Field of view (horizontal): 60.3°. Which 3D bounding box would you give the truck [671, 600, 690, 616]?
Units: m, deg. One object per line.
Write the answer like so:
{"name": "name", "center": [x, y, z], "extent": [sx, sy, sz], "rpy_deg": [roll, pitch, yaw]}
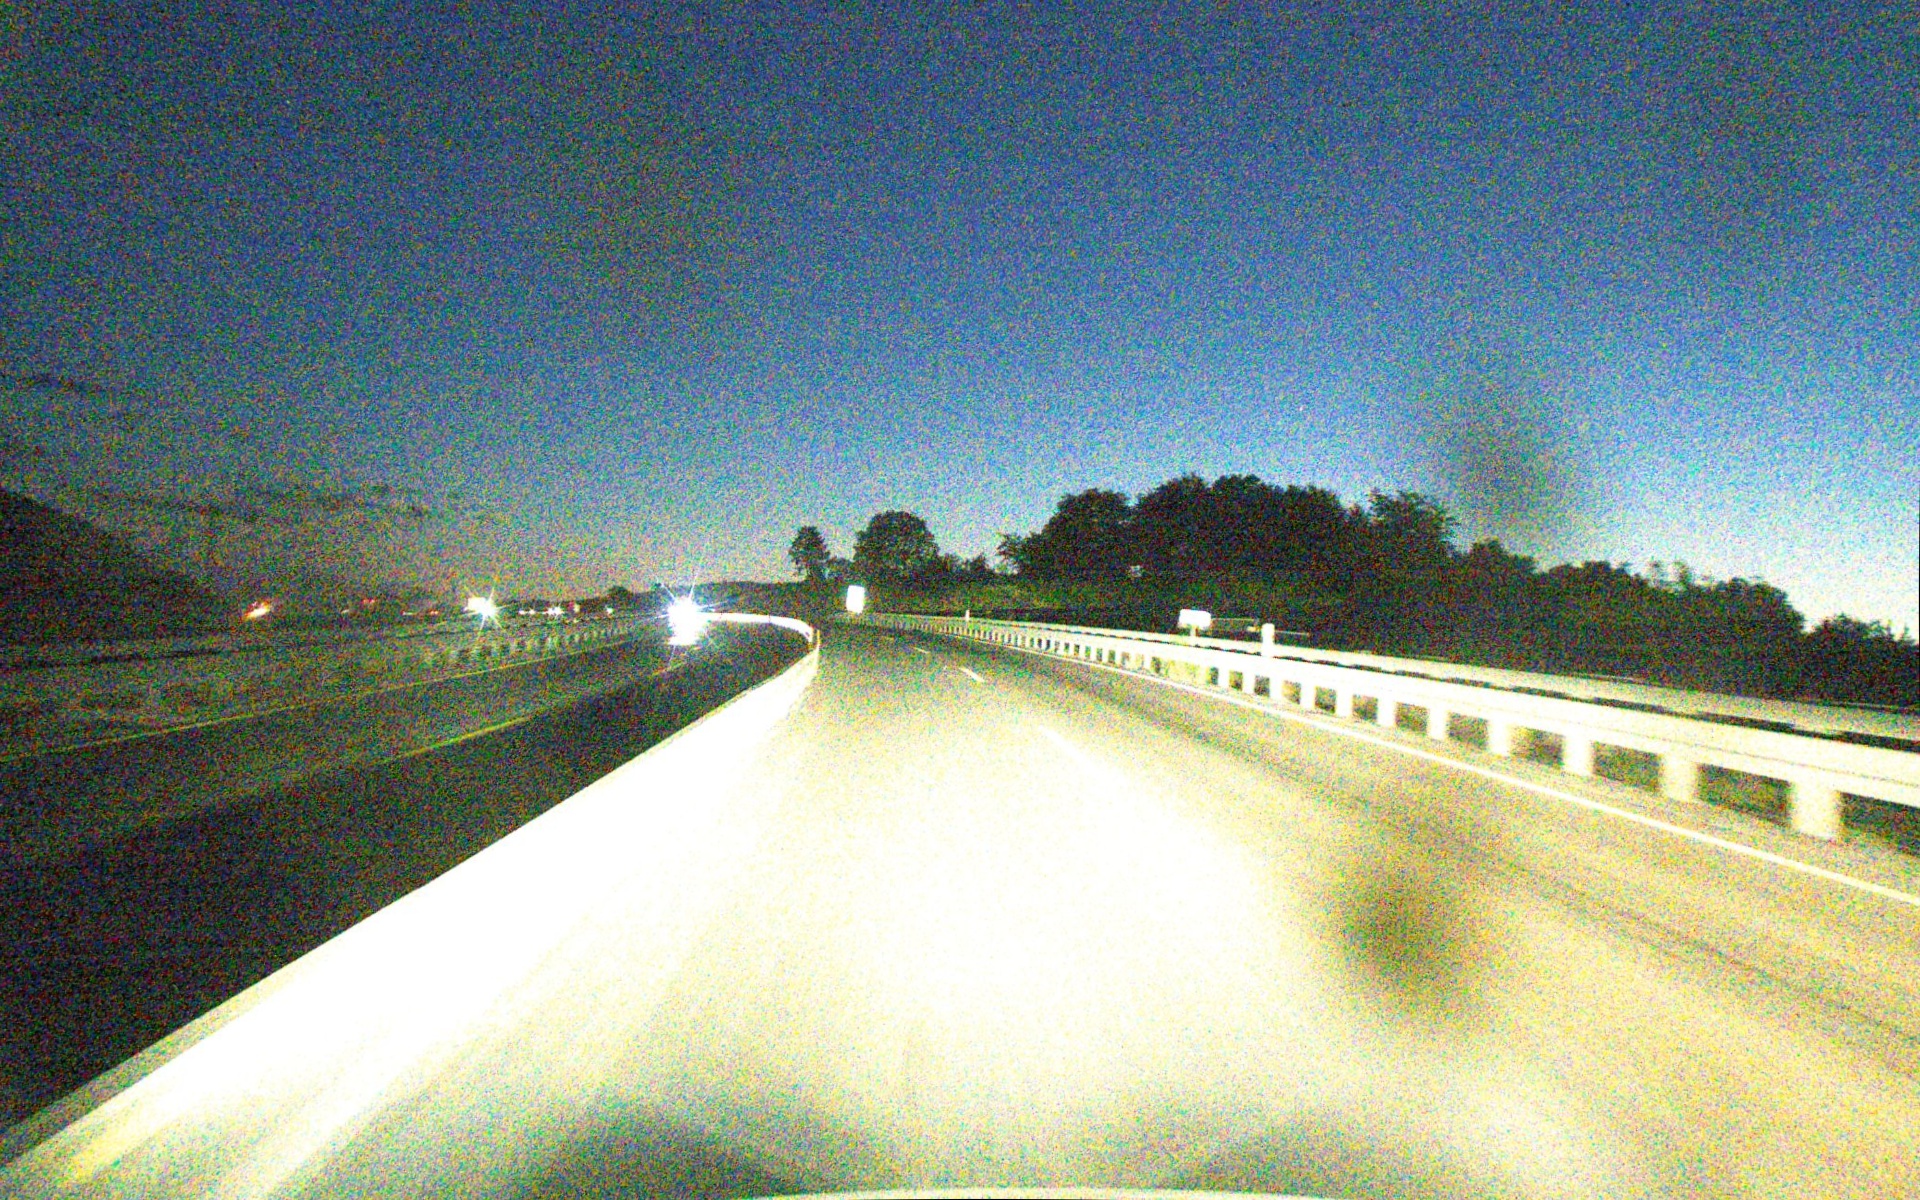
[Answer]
{"name": "truck", "center": [-27.794, 0.793, 164.528], "extent": [1.653, 1.495, 4.141], "rpy_deg": [2, -1, -11]}
